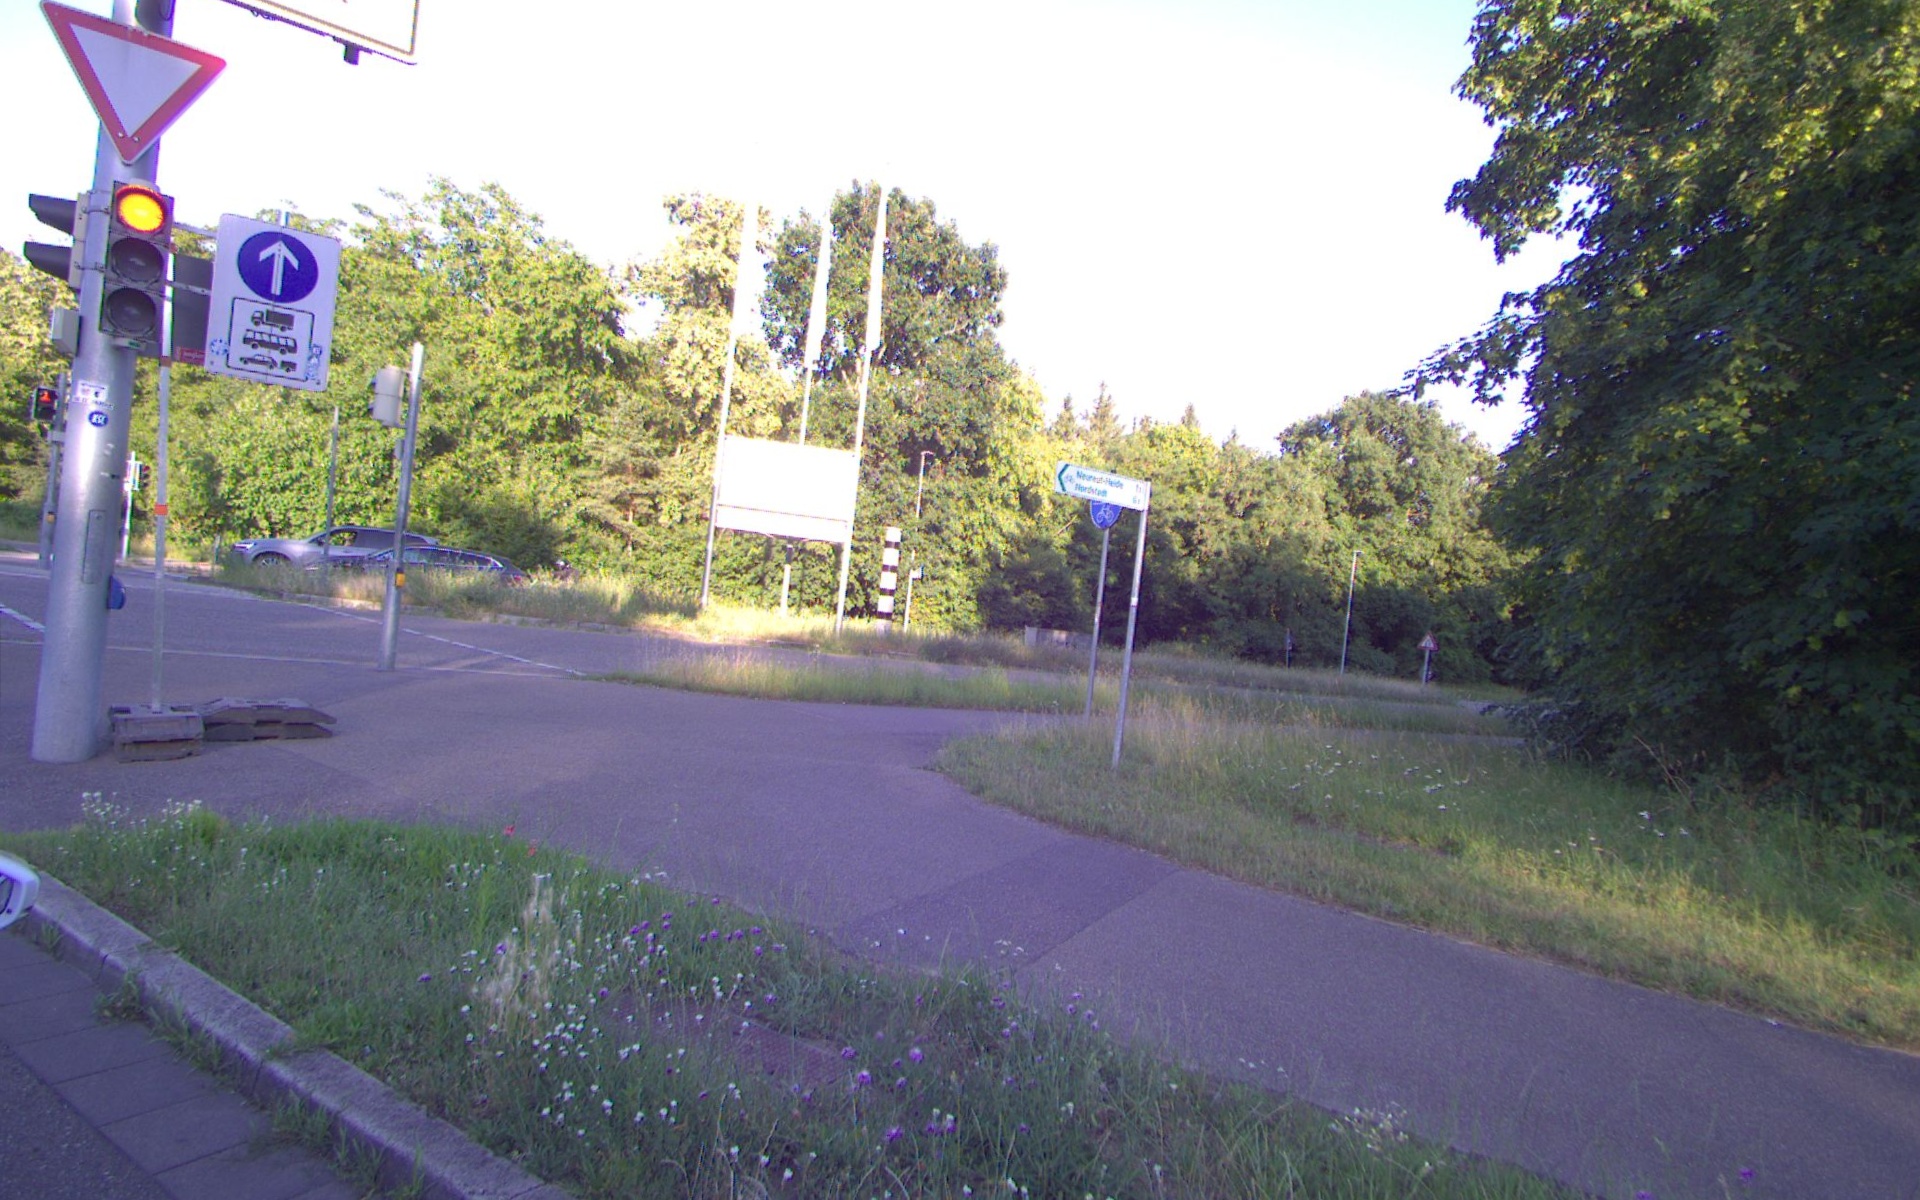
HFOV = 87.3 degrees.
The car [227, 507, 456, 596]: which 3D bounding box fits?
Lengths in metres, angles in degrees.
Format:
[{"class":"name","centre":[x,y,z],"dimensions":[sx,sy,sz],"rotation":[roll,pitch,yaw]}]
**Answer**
[{"class":"car","centre":[-15.919,-1.205,26.001],"dimensions":[4.790,1.618,1.980],"rotation":[7,0,-37]}]

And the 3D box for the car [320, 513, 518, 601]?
[{"class":"car","centre":[-12.758,-0.990,23.780],"dimensions":[3.840,1.507,1.754],"rotation":[7,-1,-36]}]

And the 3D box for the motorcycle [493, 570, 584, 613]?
[{"class":"motorcycle","centre":[-11.586,-0.219,27.697],"dimensions":[2.133,0.921,0.655],"rotation":[7,0,-37]}]

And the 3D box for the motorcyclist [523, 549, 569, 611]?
[{"class":"motorcyclist","centre":[-11.434,-0.551,27.770],"dimensions":[0.881,1.614,0.648],"rotation":[6,0,-37]}]
